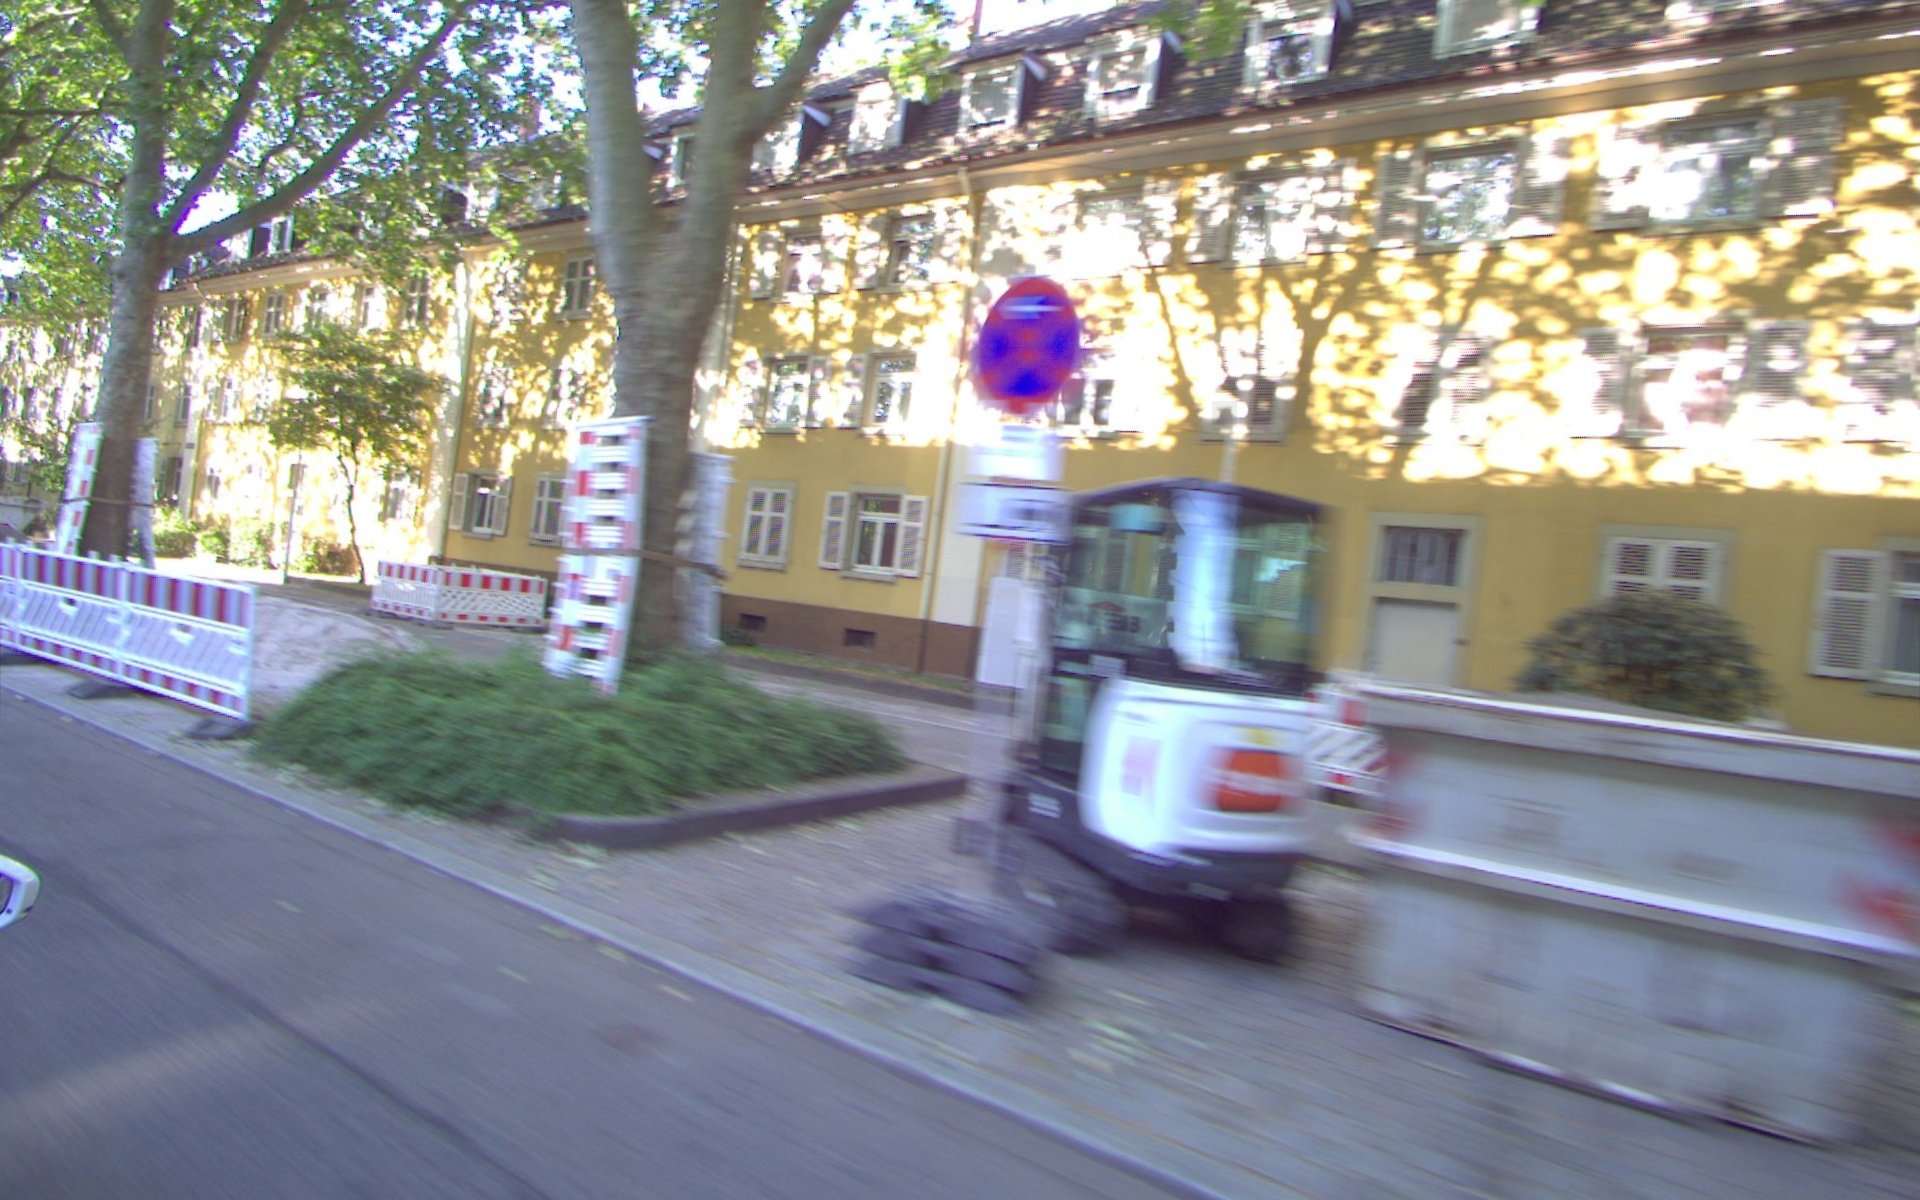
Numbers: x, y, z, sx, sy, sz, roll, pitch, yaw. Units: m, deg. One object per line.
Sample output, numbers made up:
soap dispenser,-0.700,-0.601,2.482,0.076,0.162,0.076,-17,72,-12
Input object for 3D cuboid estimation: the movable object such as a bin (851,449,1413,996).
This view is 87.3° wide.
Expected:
movable object such as a bin,0.697,0.550,5.986,1.468,2.296,3.257,7,-1,-25
